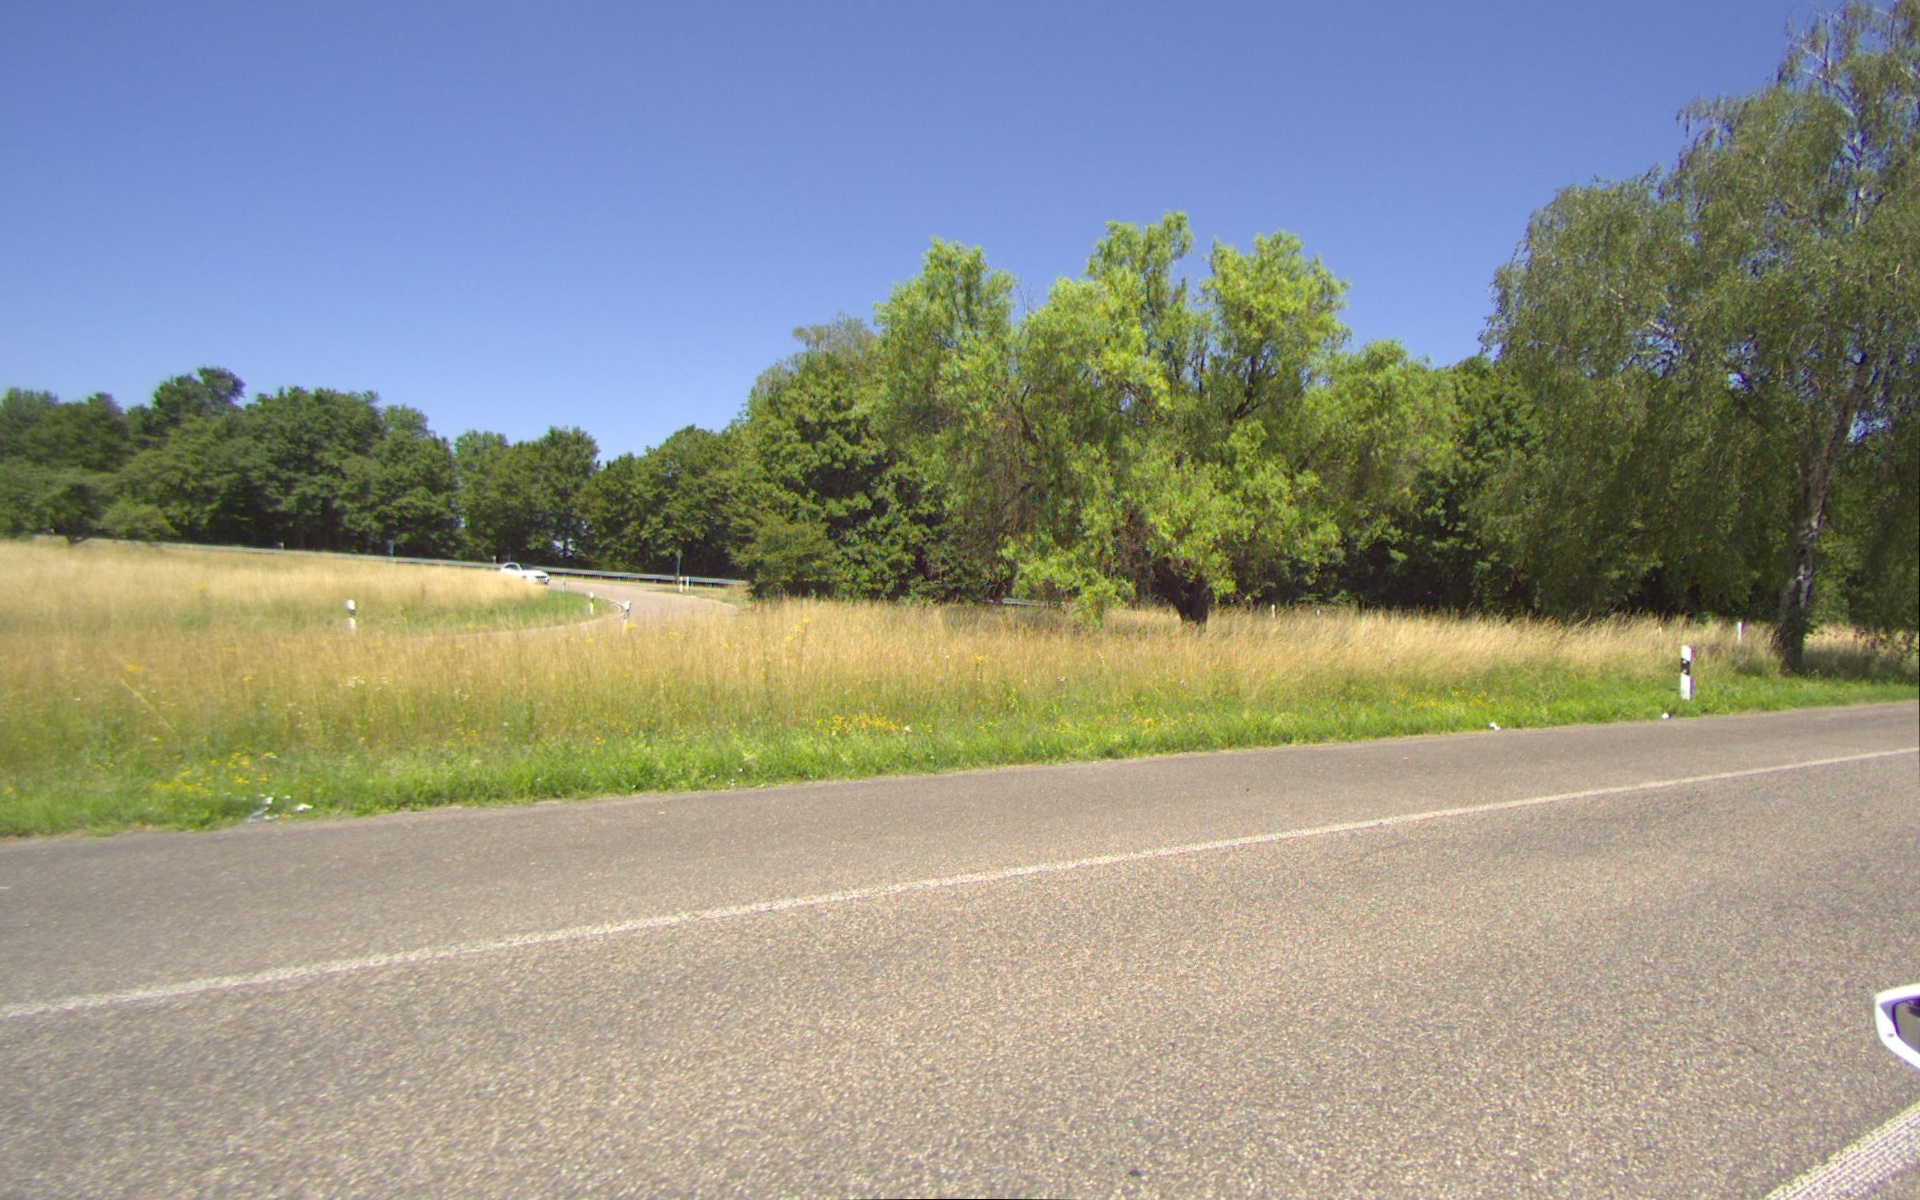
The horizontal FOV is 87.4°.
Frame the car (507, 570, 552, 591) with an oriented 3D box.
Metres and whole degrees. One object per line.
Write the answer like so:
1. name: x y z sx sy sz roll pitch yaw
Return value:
1. car: -32.421 -1.470 75.583 3.942 1.486 1.655 1 0 42
